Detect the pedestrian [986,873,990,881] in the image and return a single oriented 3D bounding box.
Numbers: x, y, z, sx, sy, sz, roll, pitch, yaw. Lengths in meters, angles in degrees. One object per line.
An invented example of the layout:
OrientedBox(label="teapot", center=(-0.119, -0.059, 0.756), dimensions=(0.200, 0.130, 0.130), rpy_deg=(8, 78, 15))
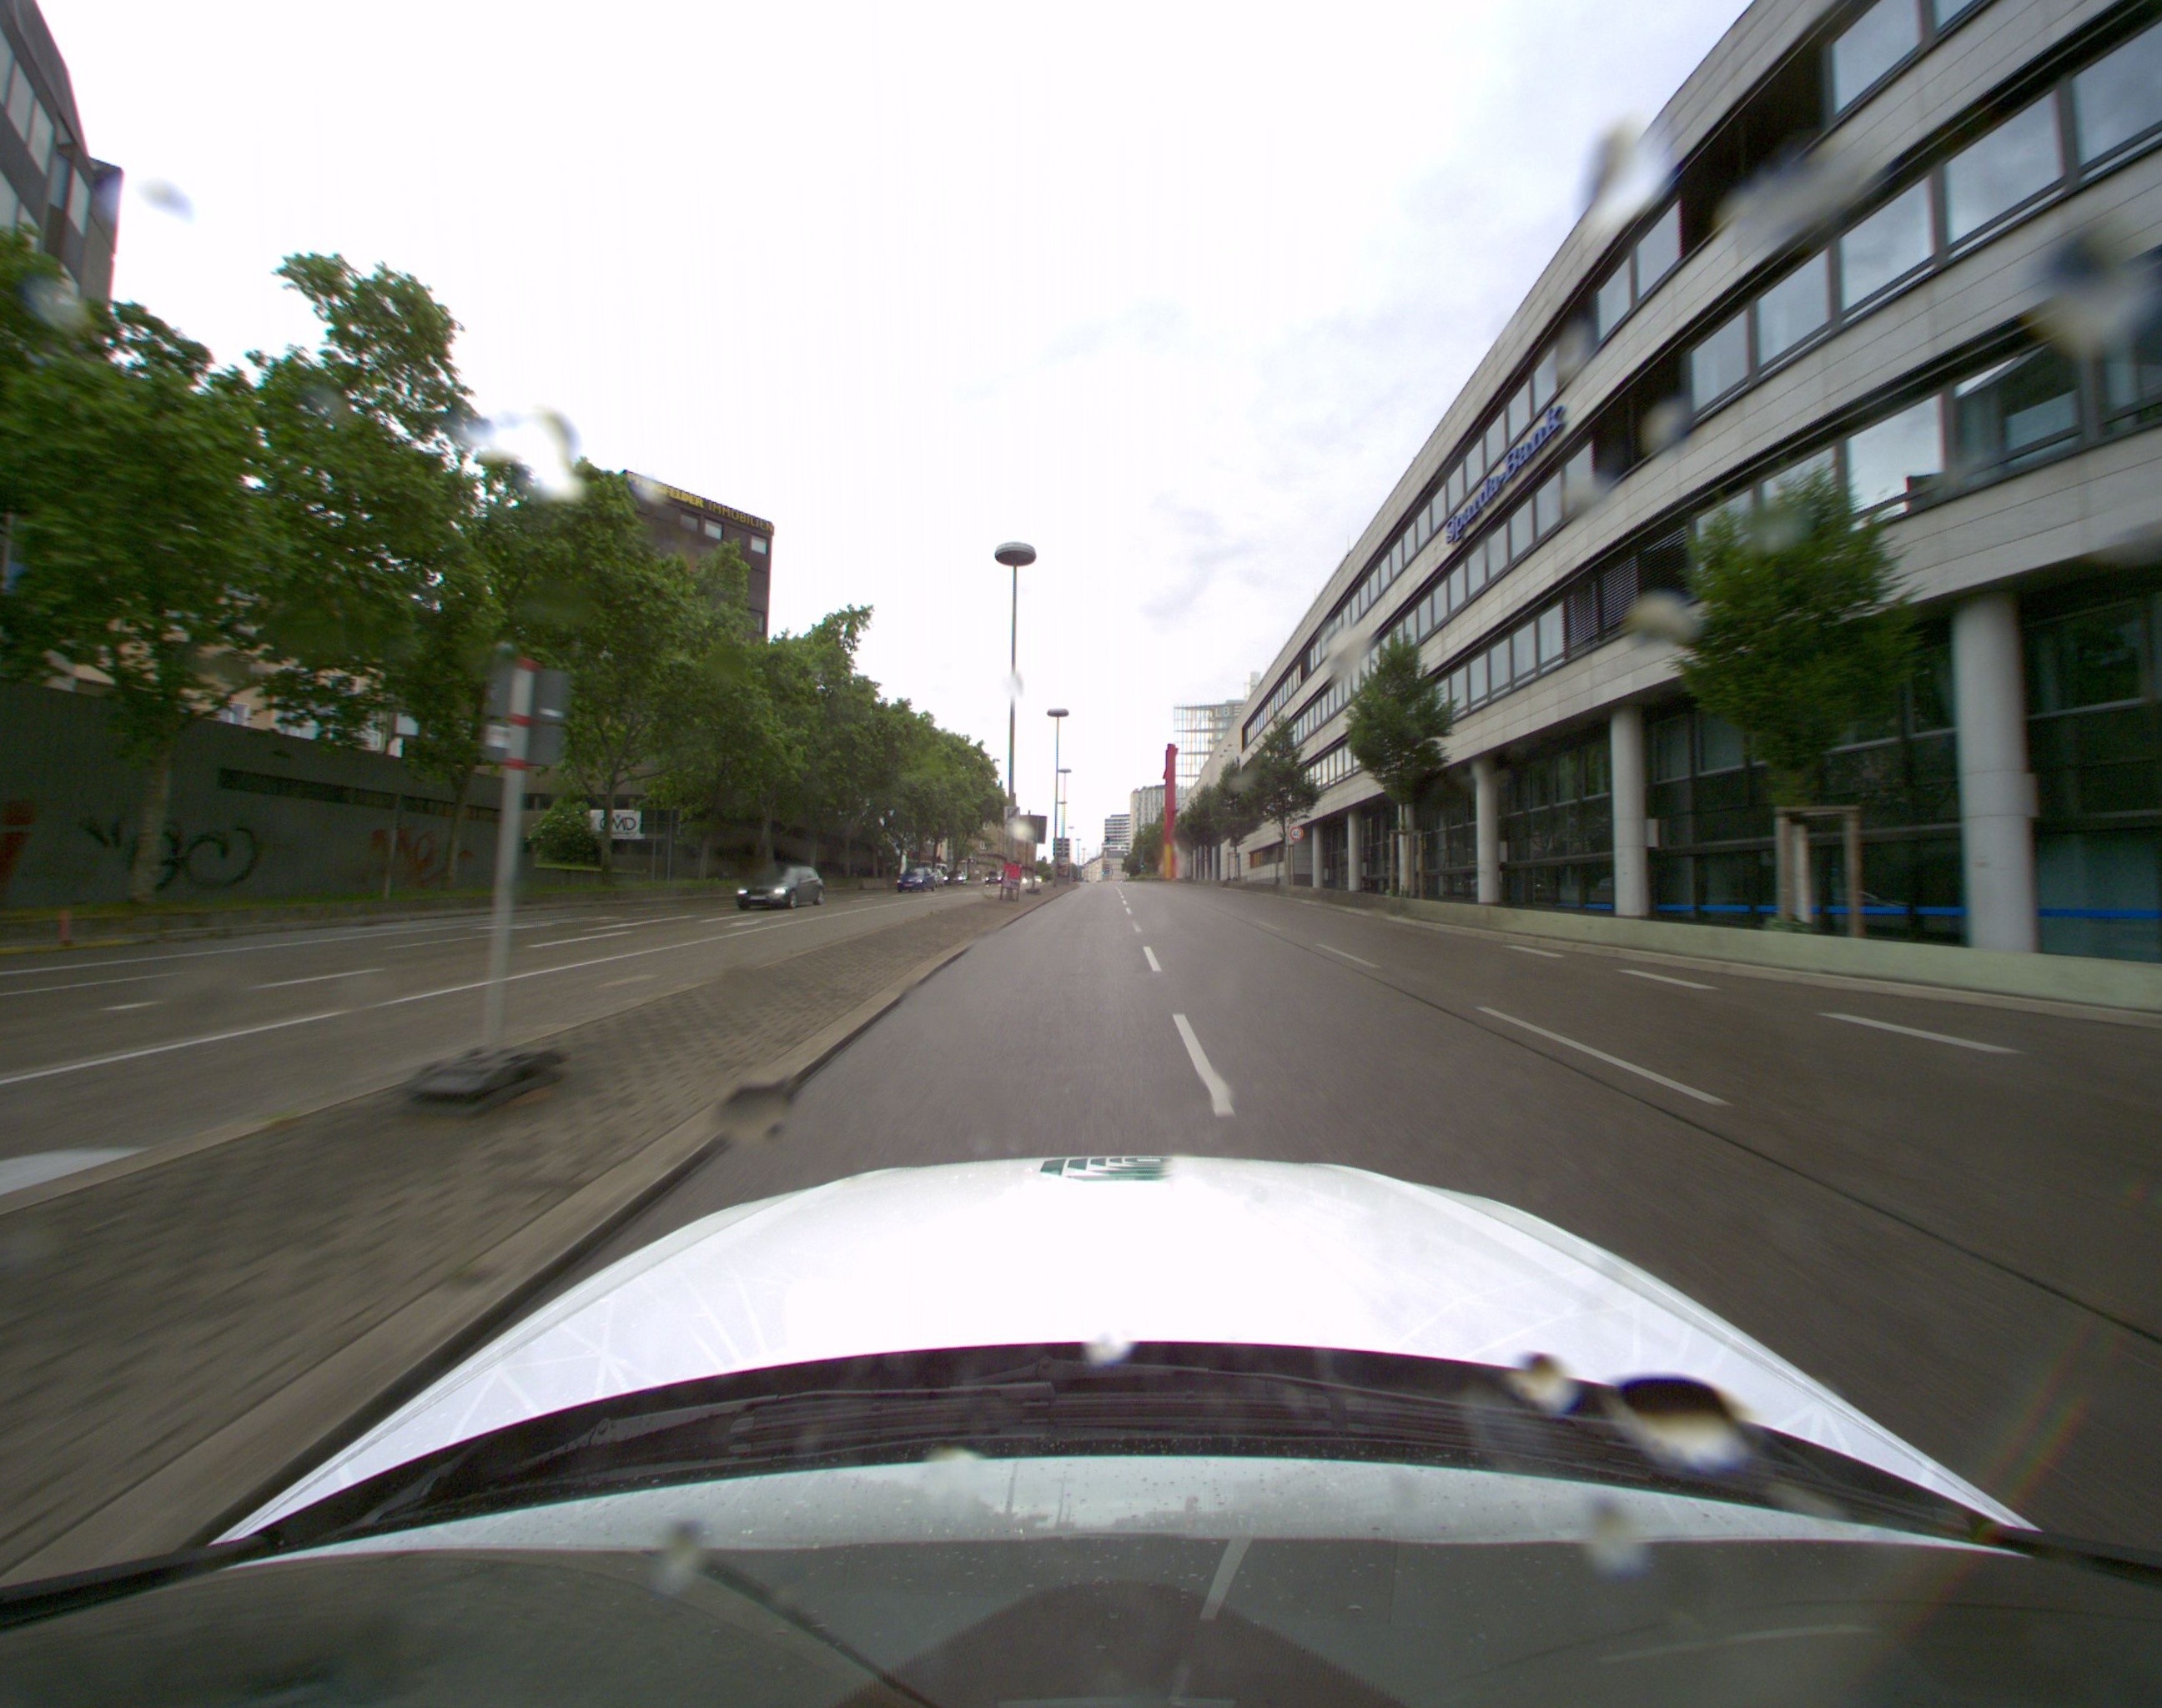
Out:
OrientedBox(label="pedestrian", center=(-17.240, 4.274, 151.155), dimensions=(0.496, 1.611, 0.501), rpy_deg=(0, -3, 4))

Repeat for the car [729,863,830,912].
OrientedBox(label="car", center=(-10.165, 1.070, 27.834), dimensions=(1.801, 1.448, 4.339), rpy_deg=(-1, 0, 0))

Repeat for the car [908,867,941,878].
OrientedBox(label="car", center=(-22.792, 2.713, 118.900), dimensions=(1.802, 1.511, 4.606), rpy_deg=(-4, -3, 40))

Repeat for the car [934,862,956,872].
OrientedBox(label="car", center=(-24.304, 2.384, 146.032), dimensions=(3.618, 1.701, 1.824), rpy_deg=(-2, -3, -2))

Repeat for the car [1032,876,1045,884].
OrientedBox(label="car", center=(-8.041, 4.979, 154.307), dimensions=(1.811, 1.469, 4.004), rpy_deg=(-2, -2, 4))

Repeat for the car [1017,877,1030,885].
OrientedBox(label="car", center=(-11.124, 5.208, 157.197), dimensions=(1.811, 1.385, 4.004), rpy_deg=(-2, -2, 4))

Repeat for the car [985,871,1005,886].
OrientedBox(label="car", center=(-8.643, 2.437, 82.181), dimensions=(1.682, 1.410, 3.997), rpy_deg=(-1, -1, -2))

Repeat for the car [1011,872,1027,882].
OrientedBox(label="car", center=(-8.955, 3.307, 117.875), dimensions=(1.811, 1.403, 4.004), rpy_deg=(-2, -2, 4))

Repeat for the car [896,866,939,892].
OrientedBox(label="car", center=(-9.807, 1.487, 49.148), dimensions=(1.602, 1.473, 4.070), rpy_deg=(-1, -1, 3))

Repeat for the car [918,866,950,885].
OrientedBox(label="car", center=(-12.078, 1.733, 67.139), dimensions=(1.590, 1.491, 3.762), rpy_deg=(0, 0, 6))
